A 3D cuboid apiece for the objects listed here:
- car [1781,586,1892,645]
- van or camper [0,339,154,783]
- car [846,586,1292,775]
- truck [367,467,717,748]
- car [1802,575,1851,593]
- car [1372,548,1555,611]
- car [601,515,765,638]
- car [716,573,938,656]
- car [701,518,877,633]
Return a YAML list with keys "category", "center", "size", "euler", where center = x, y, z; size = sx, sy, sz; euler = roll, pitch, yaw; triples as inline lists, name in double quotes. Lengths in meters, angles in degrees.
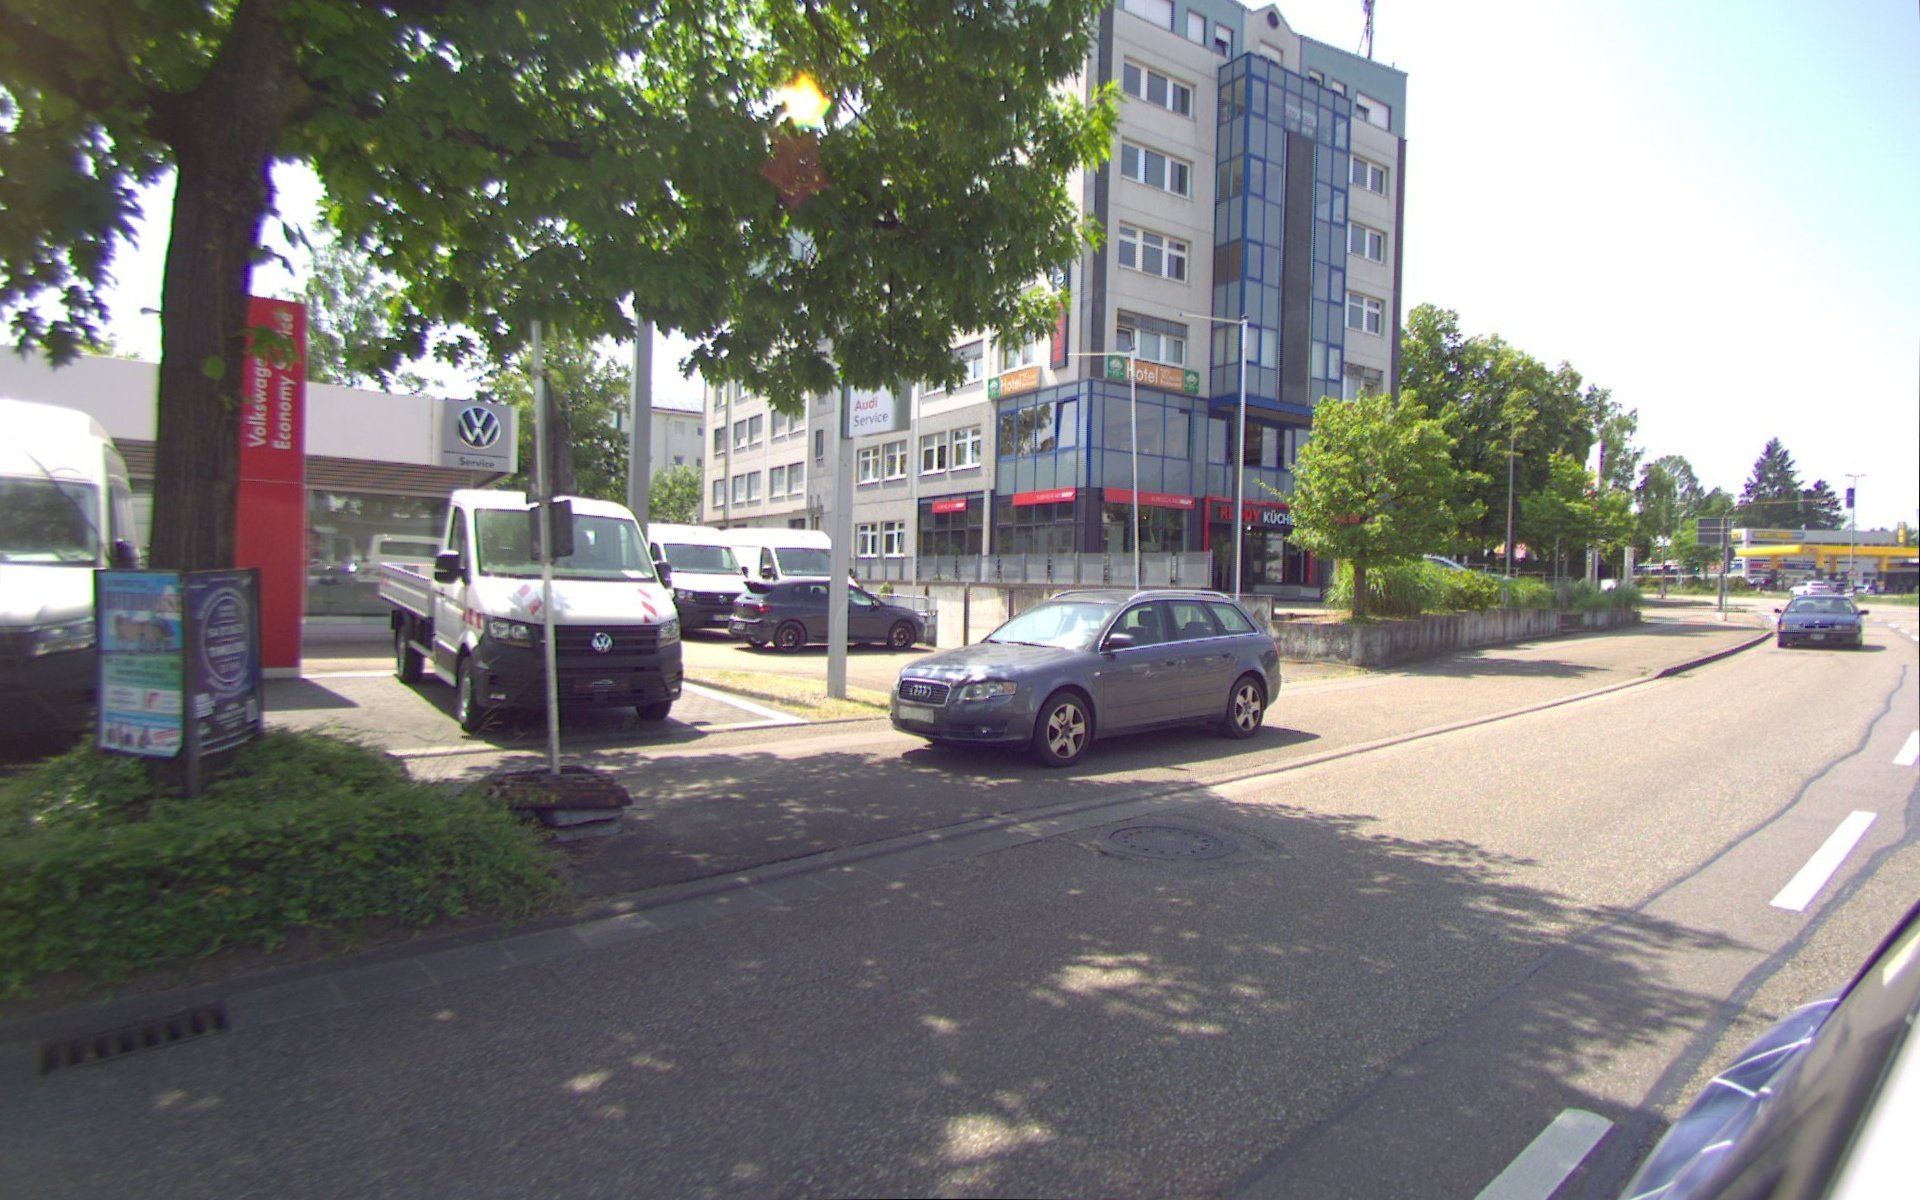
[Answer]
- category: "car"
  center: [22.841, 0.342, 26.325]
  size: [3.932, 1.390, 1.696]
  euler: [-1, 2, -42]
- category: "van or camper"
  center: [-8.769, -0.386, 9.103]
  size: [2.233, 2.934, 6.816]
  euler: [1, 2, -38]
- category: "car"
  center: [1.185, 0.582, 9.670]
  size: [4.243, 1.424, 1.801]
  euler: [-1, 0, -40]
- category: "truck"
  center: [-5.176, -0.064, 11.747]
  size: [2.324, 2.365, 6.267]
  euler: [1, 2, -36]
- category: "car"
  center: [81.503, -1.520, 95.288]
  size: [1.798, 1.590, 4.530]
  euler: [0, 0, 17]
- category: "car"
  center: [14.868, -0.581, 30.078]
  size: [4.695, 1.735, 1.981]
  euler: [0, 1, 28]
- category: "car"
  center: [-6.679, -0.535, 23.914]
  size: [1.999, 2.568, 5.298]
  euler: [-2, 1, -36]
- category: "car"
  center: [-2.730, 0.237, 21.169]
  size: [4.236, 1.527, 1.837]
  euler: [-2, 1, -35]
- category: "car"
  center: [-4.499, -0.602, 25.628]
  size: [2.080, 2.560, 5.905]
  euler: [-2, 1, -34]
